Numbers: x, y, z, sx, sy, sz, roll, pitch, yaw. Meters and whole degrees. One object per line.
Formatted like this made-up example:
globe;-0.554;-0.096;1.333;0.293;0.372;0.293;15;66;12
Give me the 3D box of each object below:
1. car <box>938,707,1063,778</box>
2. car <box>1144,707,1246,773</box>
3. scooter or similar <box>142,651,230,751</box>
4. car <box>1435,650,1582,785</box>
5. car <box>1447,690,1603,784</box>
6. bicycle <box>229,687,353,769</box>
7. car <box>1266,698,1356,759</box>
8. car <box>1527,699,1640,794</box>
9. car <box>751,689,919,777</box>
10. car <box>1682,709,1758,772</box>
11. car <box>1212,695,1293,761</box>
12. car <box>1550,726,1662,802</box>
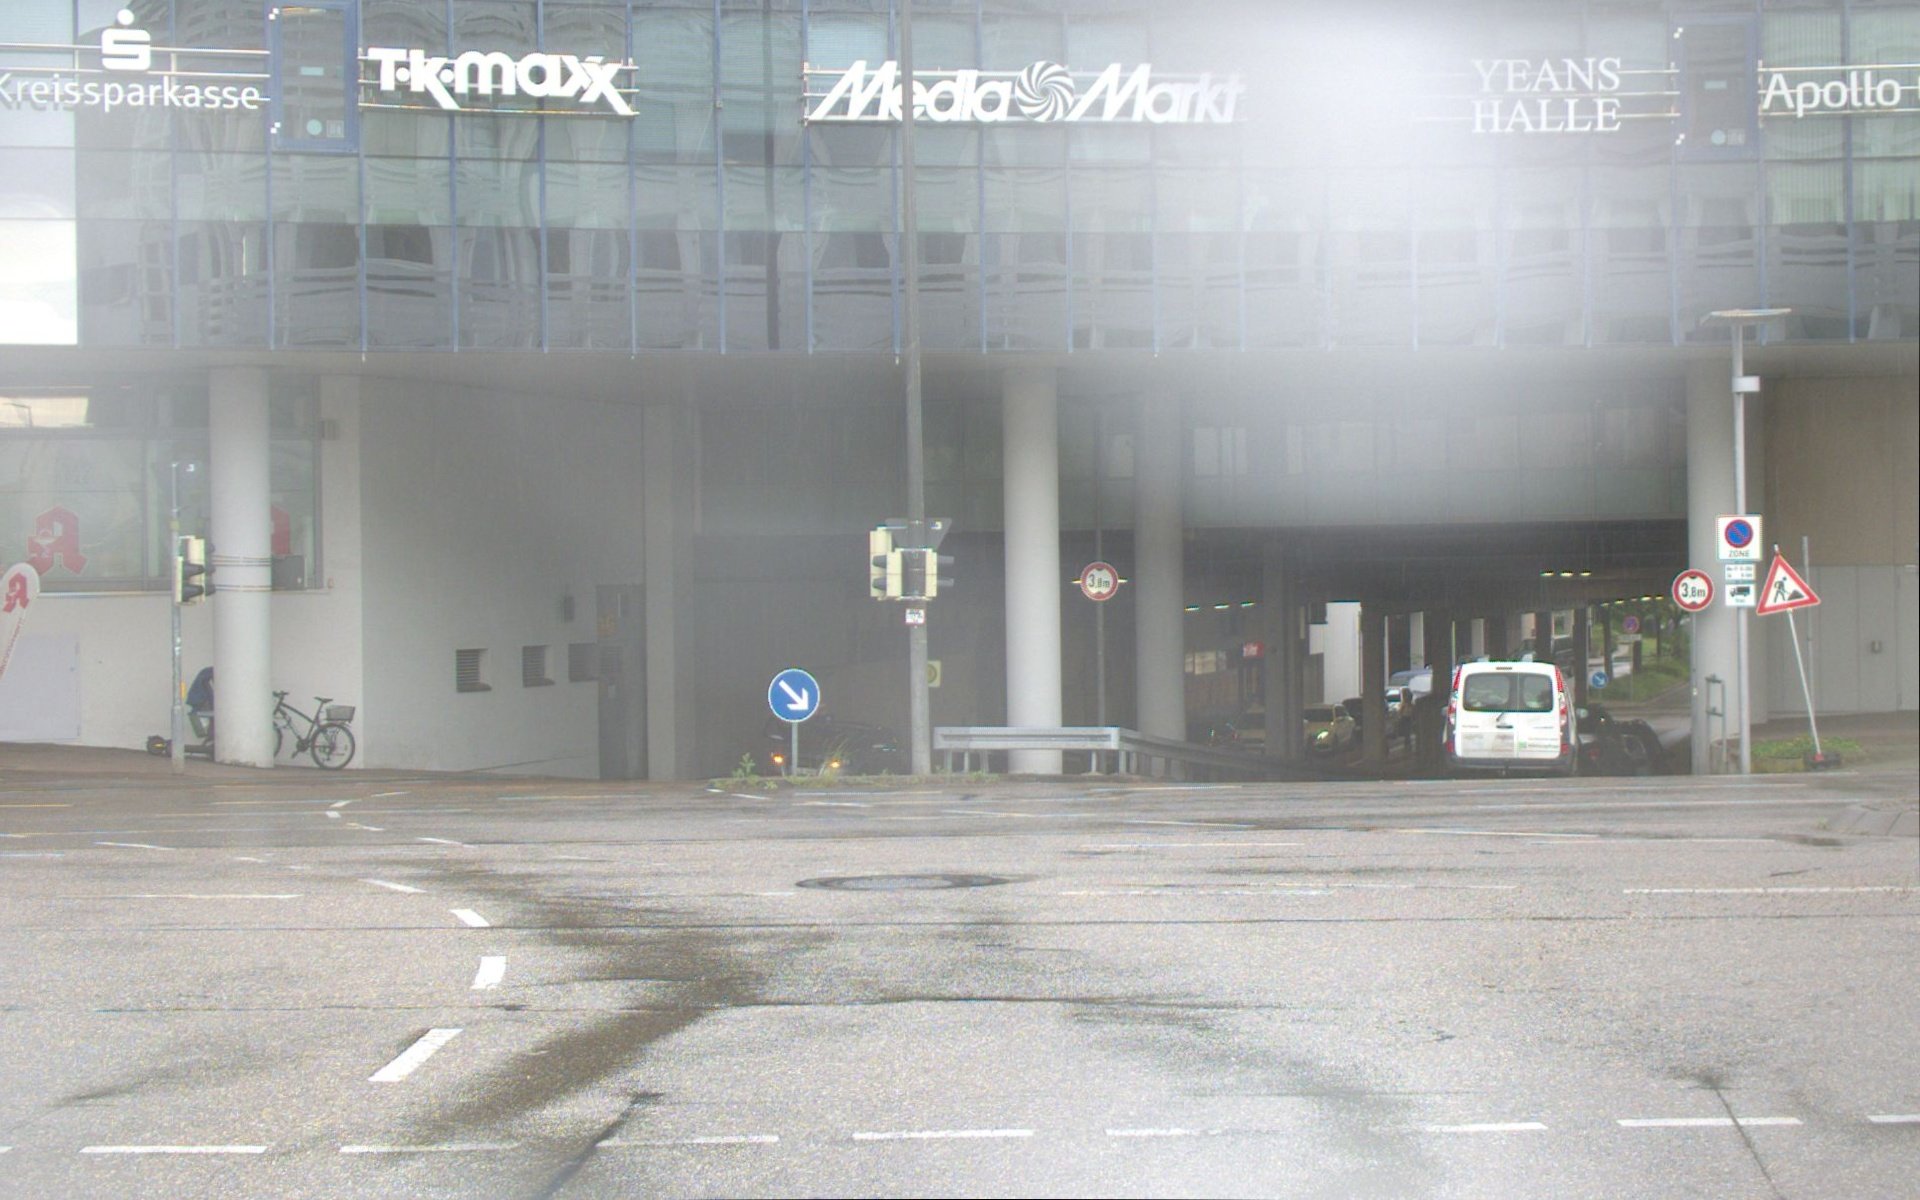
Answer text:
car;0.907;3.077;74.381;1.772;1.459;3.872;-1;-3;15
car;6.262;3.700;91.240;1.916;1.582;3.936;-1;-1;15
scooter or similar;-10.844;1.415;48.161;1.166;1.368;0.489;1;0;-15
car;7.792;1.642;48.591;1.926;1.791;4.294;-1;-2;10
car;9.320;2.279;56.467;1.759;1.459;3.938;-2;-4;21
bicycle;-9.424;1.810;48.443;1.581;1.014;0.452;6;-3;-31
car;10.421;3.786;101.793;1.995;1.658;3.997;1;0;15
car;11.083;2.593;60.926;1.634;1.606;4.259;-2;-3;14
car;-2.239;2.453;62.662;1.894;1.465;4.023;-1;-4;16
car;20.093;3.693;90.858;1.889;1.486;3.838;1;0;13
car;8.184;3.560;95.963;1.837;1.722;3.998;-1;0;11
car;12.391;3.137;65.803;1.781;1.396;3.996;-1;-3;15
